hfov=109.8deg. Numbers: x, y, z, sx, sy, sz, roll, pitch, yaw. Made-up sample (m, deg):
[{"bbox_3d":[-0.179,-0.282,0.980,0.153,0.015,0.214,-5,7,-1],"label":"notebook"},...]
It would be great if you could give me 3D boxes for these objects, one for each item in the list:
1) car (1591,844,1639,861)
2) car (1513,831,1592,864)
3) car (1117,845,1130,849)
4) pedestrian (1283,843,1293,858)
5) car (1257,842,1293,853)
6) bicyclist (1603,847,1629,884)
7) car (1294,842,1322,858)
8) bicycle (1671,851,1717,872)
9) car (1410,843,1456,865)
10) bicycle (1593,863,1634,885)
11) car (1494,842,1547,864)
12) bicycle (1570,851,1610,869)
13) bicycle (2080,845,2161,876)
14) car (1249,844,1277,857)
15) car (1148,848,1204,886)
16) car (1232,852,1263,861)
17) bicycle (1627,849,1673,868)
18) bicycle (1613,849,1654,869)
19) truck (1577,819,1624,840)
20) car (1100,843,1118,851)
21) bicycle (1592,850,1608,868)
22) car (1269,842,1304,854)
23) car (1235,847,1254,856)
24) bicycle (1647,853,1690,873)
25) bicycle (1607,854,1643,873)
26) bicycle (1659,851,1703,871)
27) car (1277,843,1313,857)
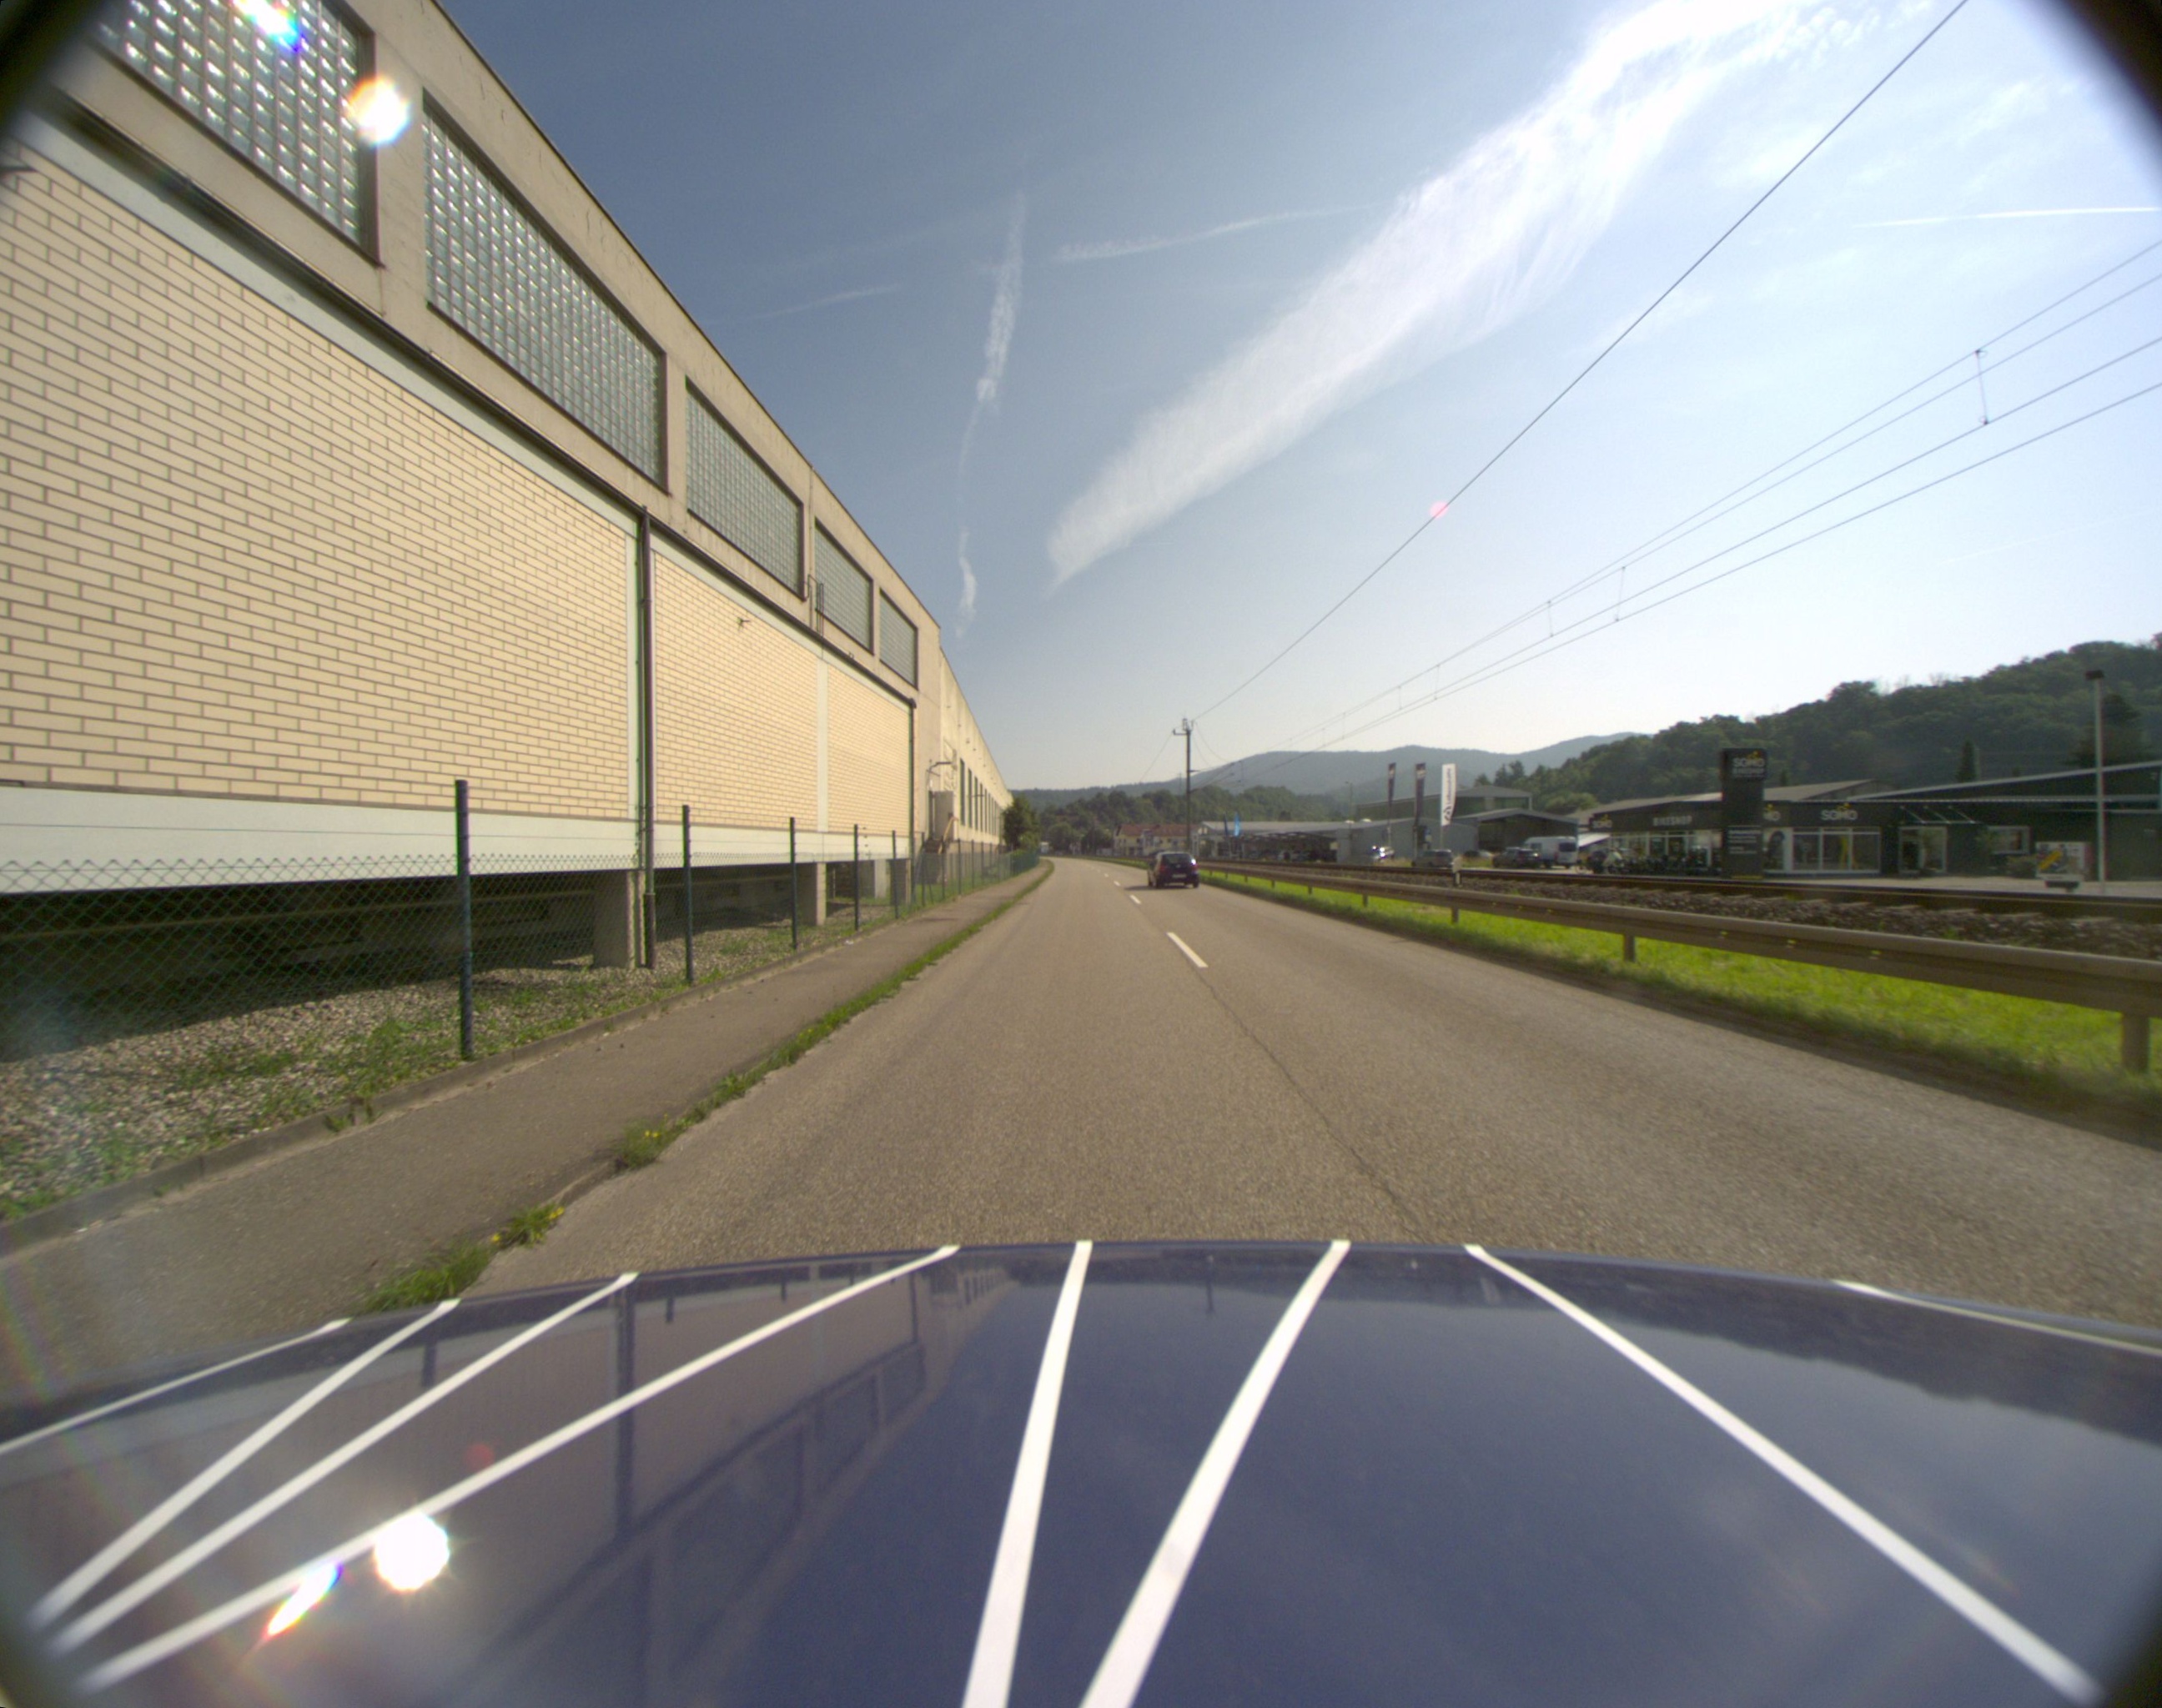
[{"bbox_3d":[44.345,-0.178,63.188,1.518,1.350,3.520,0,1,-1],"label":"car"},{"bbox_3d":[39.435,-0.628,63.800,2.380,2.618,6.155,0,2,-4],"label":"car"},{"bbox_3d":[13.173,-2.097,234.665,3.859,1.292,1.647,-1,1,-11],"label":"car"},{"bbox_3d":[24.436,-0.421,89.634,0.833,1.724,0.806,1,1,43],"label":"pedestrian"},{"bbox_3d":[26.088,-0.885,102.338,1.851,1.496,4.422,-1,1,-41],"label":"car"},{"bbox_3d":[23.849,0.515,33.897,0.534,1.637,0.831,0,1,-3],"label":"bicyclist"},{"bbox_3d":[26.798,-0.465,89.792,1.658,1.613,4.039,-2,1,40],"label":"car"},{"bbox_3d":[33.325,0.400,41.316,2.175,1.124,0.729,0,1,-12],"label":"bicycle"},{"bbox_3d":[29.252,-0.032,63.315,1.523,1.679,4.368,-2,1,-5],"label":"car"},{"bbox_3d":[23.835,0.901,34.063,0.547,0.917,1.709,0,1,-3],"label":"bicycle"},{"bbox_3d":[36.348,-0.122,62.959,1.873,1.654,3.997,0,2,-5],"label":"car"},{"bbox_3d":[33.825,0.390,50.528,2.173,1.124,0.730,0,1,-2],"label":"bicycle"},{"bbox_3d":[47.718,0.267,34.621,3.445,1.281,0.989,-2,2,-6],"label":"bicycle"},{"bbox_3d":[26.012,-0.489,108.360,4.279,1.519,1.842,-4,1,-43],"label":"car"},{"bbox_3d":[3.746,0.486,30.679,1.768,1.395,4.119,-1,1,0],"label":"car"},{"bbox_3d":[24.990,0.420,113.819,1.851,1.334,4.196,-1,1,-45],"label":"car"},{"bbox_3d":[34.013,0.276,45.434,2.173,1.124,0.730,0,1,-2],"label":"bicycle"},{"bbox_3d":[32.475,0.304,44.673,0.730,1.124,2.173,0,1,-3],"label":"bicycle"},{"bbox_3d":[60.871,-2.917,89.159,1.999,2.411,4.638,0,2,-5],"label":"truck"},{"bbox_3d":[9.283,-2.366,253.483,5.590,2.403,2.235,-1,1,-9],"label":"car"},{"bbox_3d":[32.646,0.296,47.789,0.728,1.124,2.327,1,1,32],"label":"bicycle"},{"bbox_3d":[26.183,-0.785,96.680,3.968,1.317,1.501,-3,1,-5],"label":"car"},{"bbox_3d":[25.554,-0.344,118.800,1.842,1.377,4.531,0,1,27],"label":"car"},{"bbox_3d":[34.276,0.522,44.336,2.175,1.124,0.729,0,1,-12],"label":"bicycle"},{"bbox_3d":[34.404,0.598,48.084,0.729,1.124,2.174,0,1,0],"label":"bicycle"},{"bbox_3d":[34.394,0.401,43.552,2.175,1.124,0.729,0,1,-12],"label":"bicycle"},{"bbox_3d":[26.683,-0.557,94.810,3.968,1.519,1.662,-3,1,-5],"label":"car"}]
